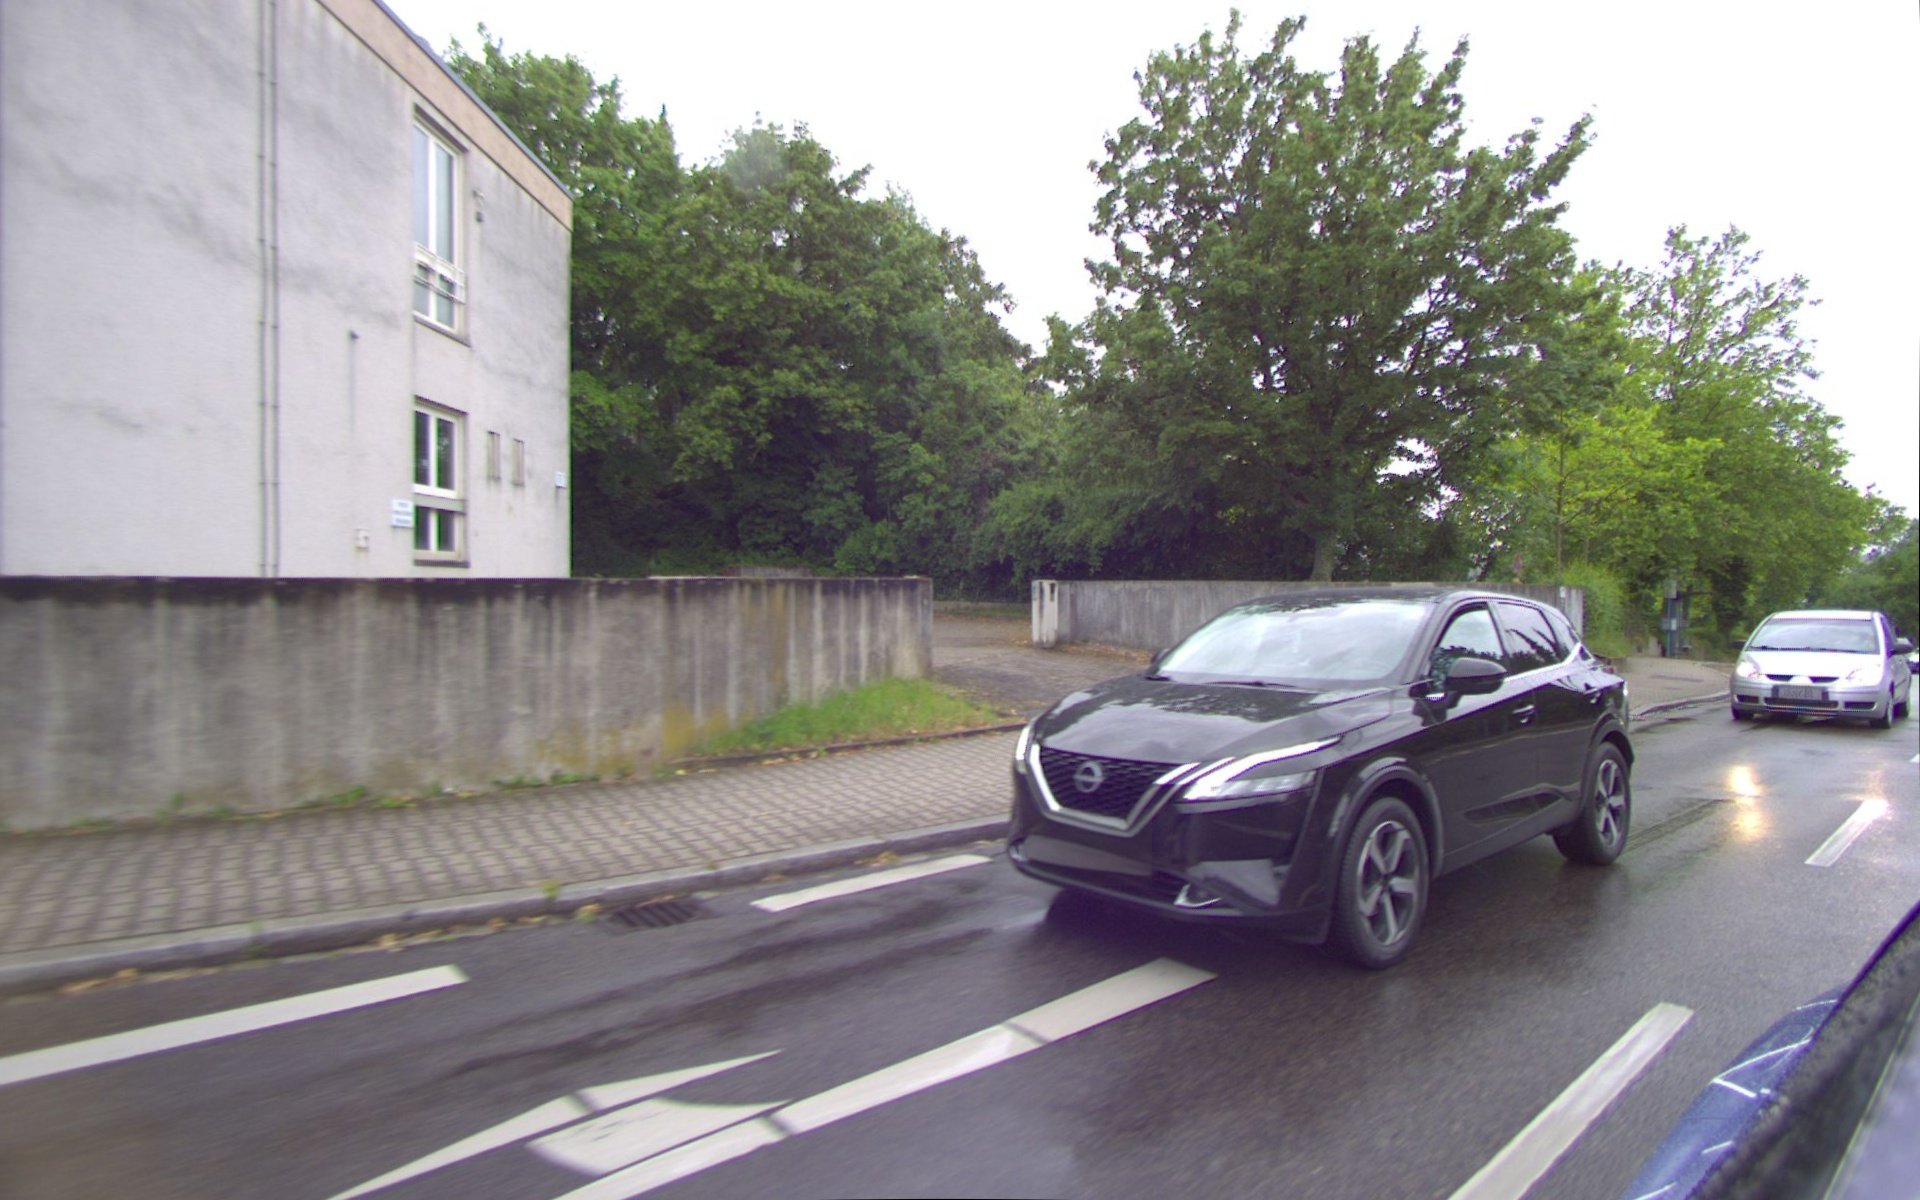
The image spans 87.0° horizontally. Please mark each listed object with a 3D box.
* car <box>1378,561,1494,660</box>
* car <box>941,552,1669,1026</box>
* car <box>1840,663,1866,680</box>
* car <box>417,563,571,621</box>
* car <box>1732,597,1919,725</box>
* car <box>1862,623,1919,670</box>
[{"bbox_3d":[12.373,0.333,26.166,1.988,2.256,4.078,0,-4,36],"label":"car"},{"bbox_3d":[2.089,0.652,5.495,4.176,1.624,1.794,0,0,-39],"label":"car"},{"bbox_3d":[84.822,6.753,96.148,1.682,1.473,3.349,1,-3,39],"label":"car"},{"bbox_3d":[-12.184,-0.224,26.597,3.376,1.393,1.483,1,2,-1],"label":"car"},{"bbox_3d":[12.445,0.752,14.306,3.930,1.524,1.638,-1,0,-41],"label":"car"},{"bbox_3d":[37.574,1.875,40.373,3.932,1.724,2.031,6,-6,-43],"label":"car"}]
